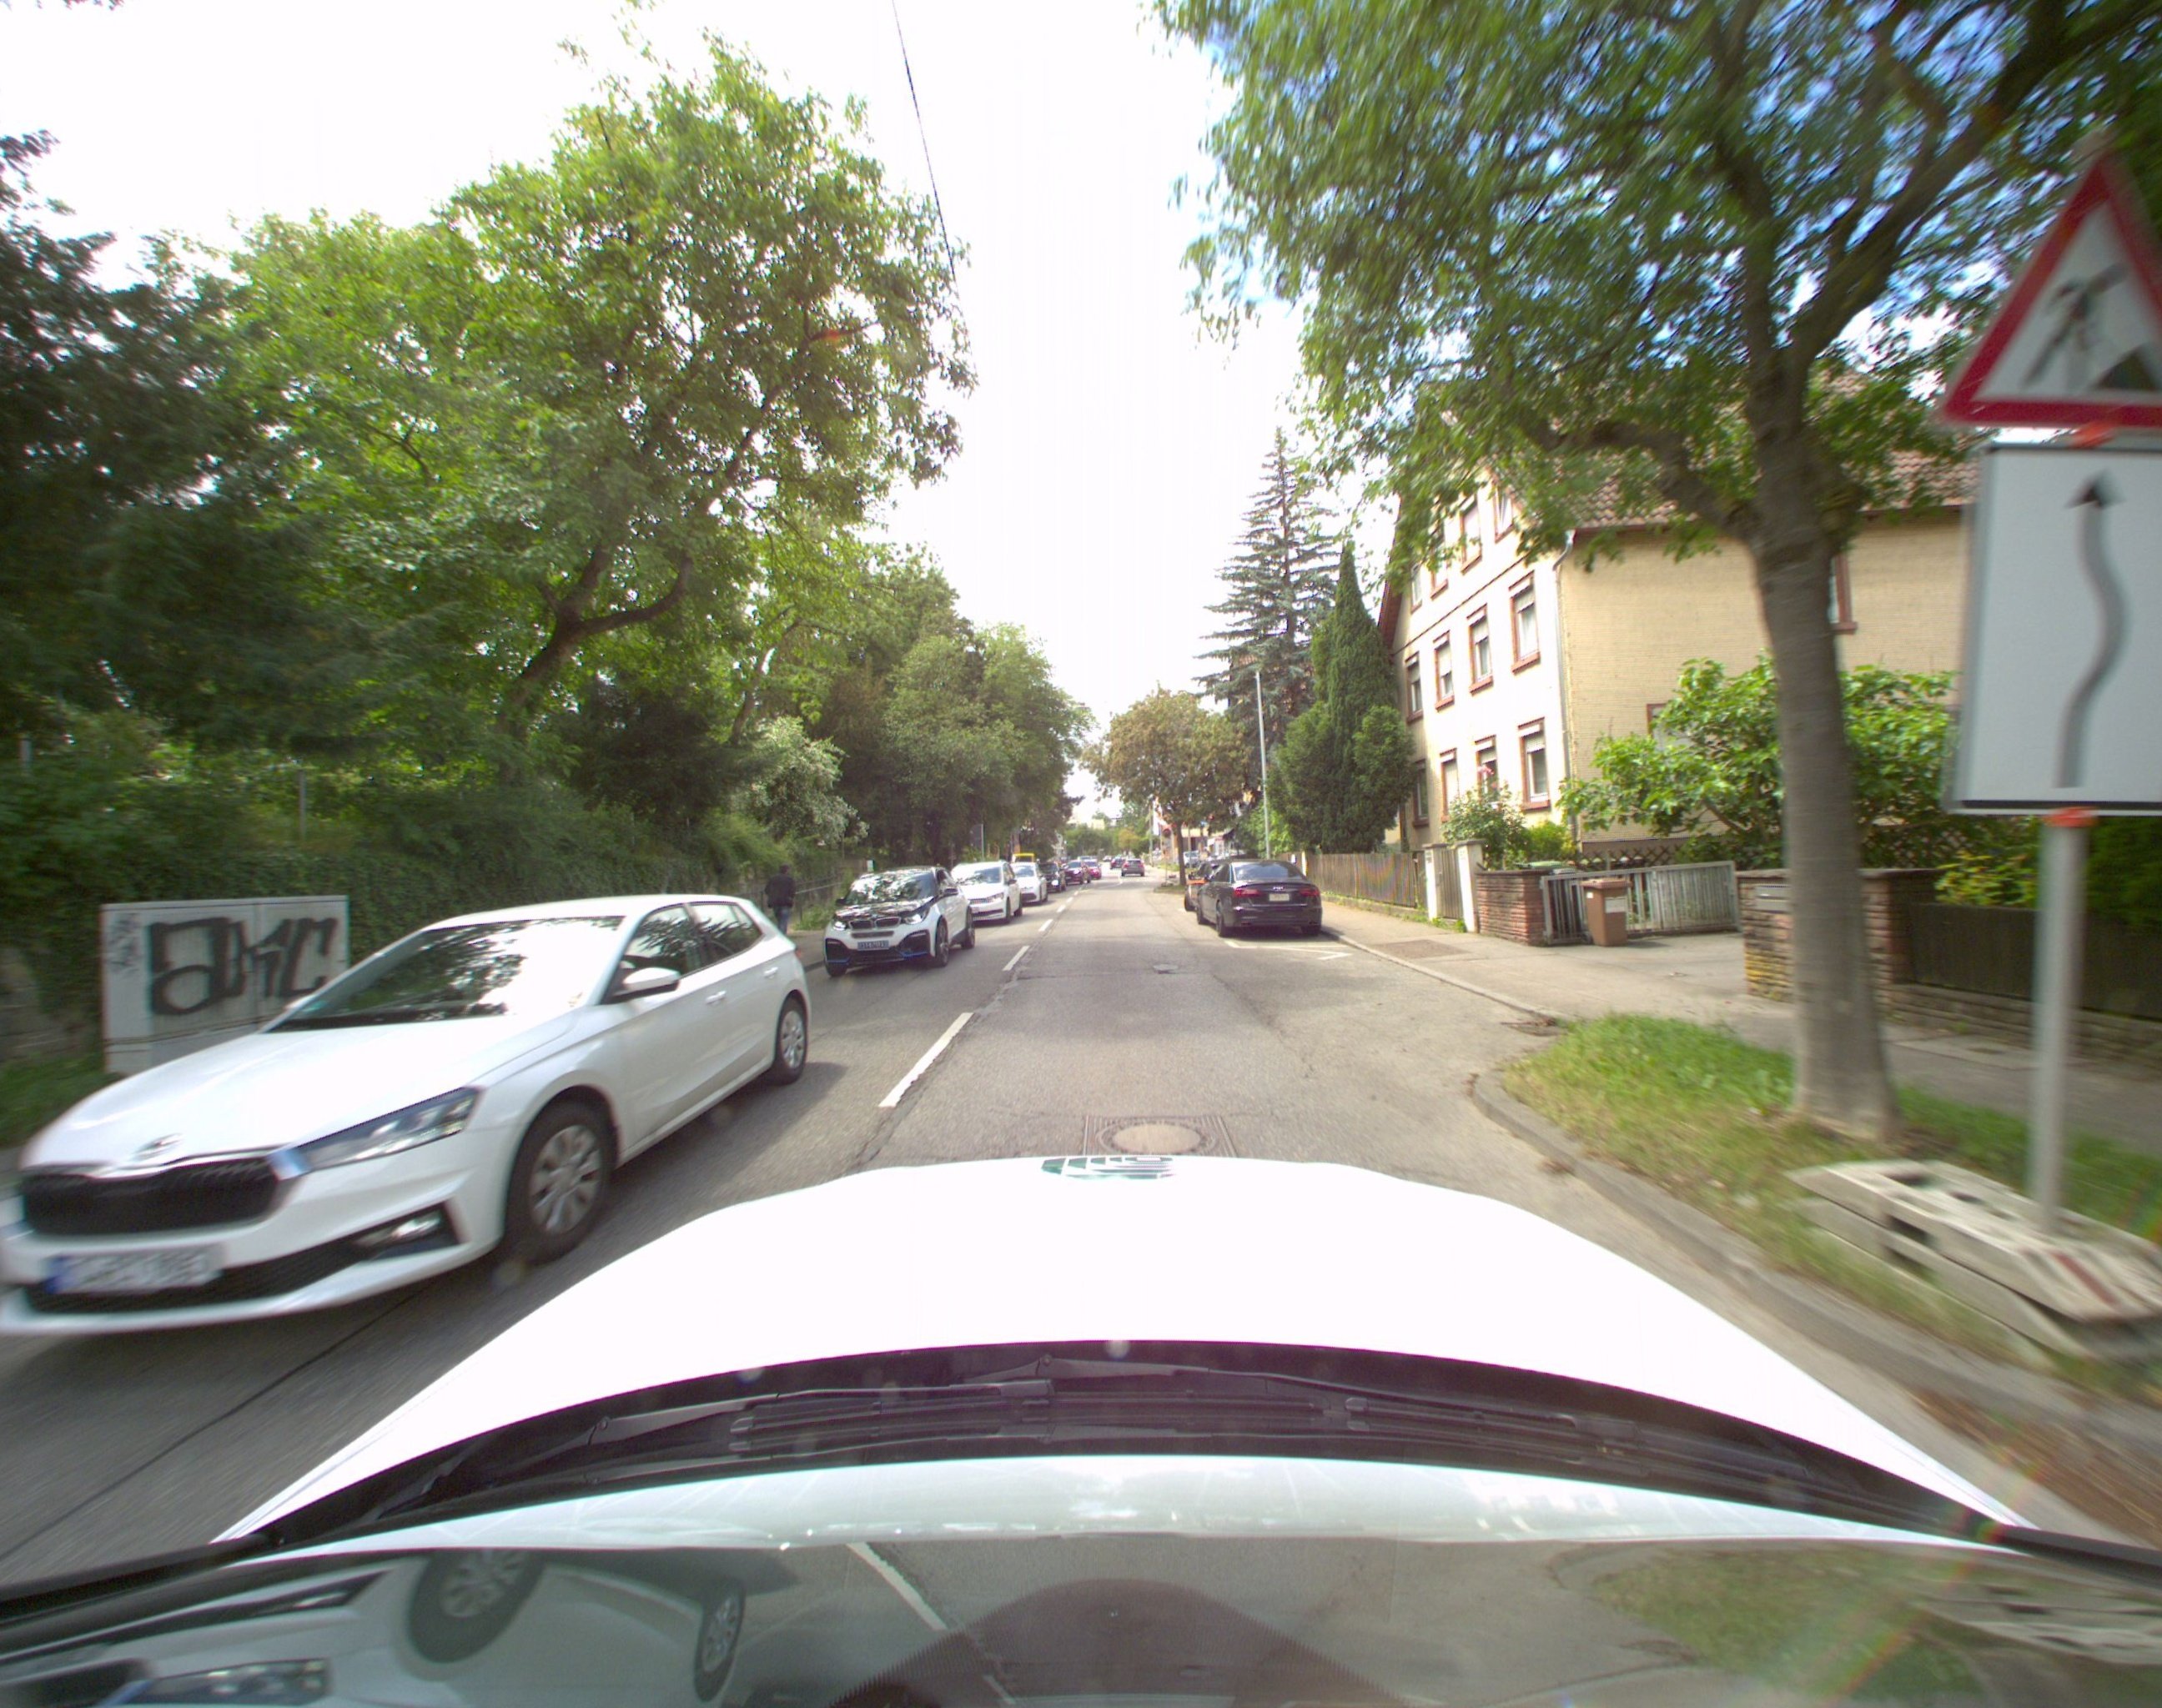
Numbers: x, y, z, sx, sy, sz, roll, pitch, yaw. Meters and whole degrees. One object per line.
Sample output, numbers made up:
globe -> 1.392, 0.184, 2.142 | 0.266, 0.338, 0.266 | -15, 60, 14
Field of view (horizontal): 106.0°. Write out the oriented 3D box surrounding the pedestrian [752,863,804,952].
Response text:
pedestrian -> -5.926, 1.025, 15.950 | 0.651, 1.667, 0.930 | -2, -1, -4

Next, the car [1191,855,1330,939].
car -> 3.450, 0.758, 16.587 | 1.795, 1.445, 4.887 | -1, 0, 1

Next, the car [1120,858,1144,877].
car -> 4.271, 1.097, 67.879 | 1.967, 1.513, 4.271 | 0, 0, 4

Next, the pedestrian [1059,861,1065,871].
pedestrian -> -2.804, 1.759, 120.108 | 0.701, 1.439, 0.715 | -3, -1, 5

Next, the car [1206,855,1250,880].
car -> 8.583, 0.787, 47.907 | 1.719, 1.316, 4.265 | -2, 0, 0

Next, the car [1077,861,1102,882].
car -> 0.652, 1.325, 61.431 | 1.684, 1.425, 3.440 | -3, -1, 3

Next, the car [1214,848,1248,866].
car -> 12.312, 0.233, 67.104 | 1.837, 1.355, 4.065 | -3, 0, -2

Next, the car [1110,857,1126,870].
car -> 4.614, 1.182, 103.213 | 1.810, 1.501, 4.266 | -2, 0, 0

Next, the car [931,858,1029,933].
car -> -2.586, 1.019, 21.873 | 1.779, 1.648, 4.492 | -5, 0, 2

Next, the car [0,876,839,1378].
car -> -2.955, 0.970, 4.682 | 1.753, 1.439, 3.971 | -5, 0, 1

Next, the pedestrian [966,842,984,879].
pedestrian -> -5.142, 0.331, 39.517 | 0.712, 1.762, 1.120 | -2, -1, -4

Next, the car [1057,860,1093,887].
car -> -0.348, 1.254, 53.245 | 1.753, 1.533, 4.103 | -4, 0, 6

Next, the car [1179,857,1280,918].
car -> 3.853, 0.830, 21.865 | 1.818, 1.417, 4.508 | -1, 0, -1

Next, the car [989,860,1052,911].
car -> -2.159, 1.094, 30.077 | 1.778, 1.592, 4.155 | -5, 0, 2

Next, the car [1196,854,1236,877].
car -> 8.734, 0.718, 52.959 | 1.718, 1.364, 4.482 | -3, 0, -1

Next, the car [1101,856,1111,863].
car -> 6.024, 1.269, 193.172 | 2.101, 1.501, 4.271 | -3, 0, 4

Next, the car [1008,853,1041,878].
car -> -4.901, 1.037, 71.499 | 2.136, 1.981, 4.936 | -3, -1, 4

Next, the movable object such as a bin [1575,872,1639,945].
movable object such as a bin -> 7.314, 0.743, 11.331 | 0.506, 0.935, 0.520 | -4, 1, 1

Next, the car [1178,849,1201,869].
car -> 10.272, 0.452, 77.303 | 1.776, 1.634, 3.697 | -6, -1, 5

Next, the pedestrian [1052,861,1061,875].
pedestrian -> -2.497, 1.444, 83.317 | 0.705, 1.439, 0.711 | -2, -2, -10

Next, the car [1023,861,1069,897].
car -> -1.734, 1.223, 41.171 | 1.781, 1.542, 4.267 | -4, 0, 3

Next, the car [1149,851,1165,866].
car -> 10.826, 0.628, 116.405 | 1.985, 2.014, 4.003 | -3, -1, 3

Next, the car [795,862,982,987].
car -> -2.994, 1.026, 13.635 | 1.921, 1.546, 4.087 | -6, 0, 1
